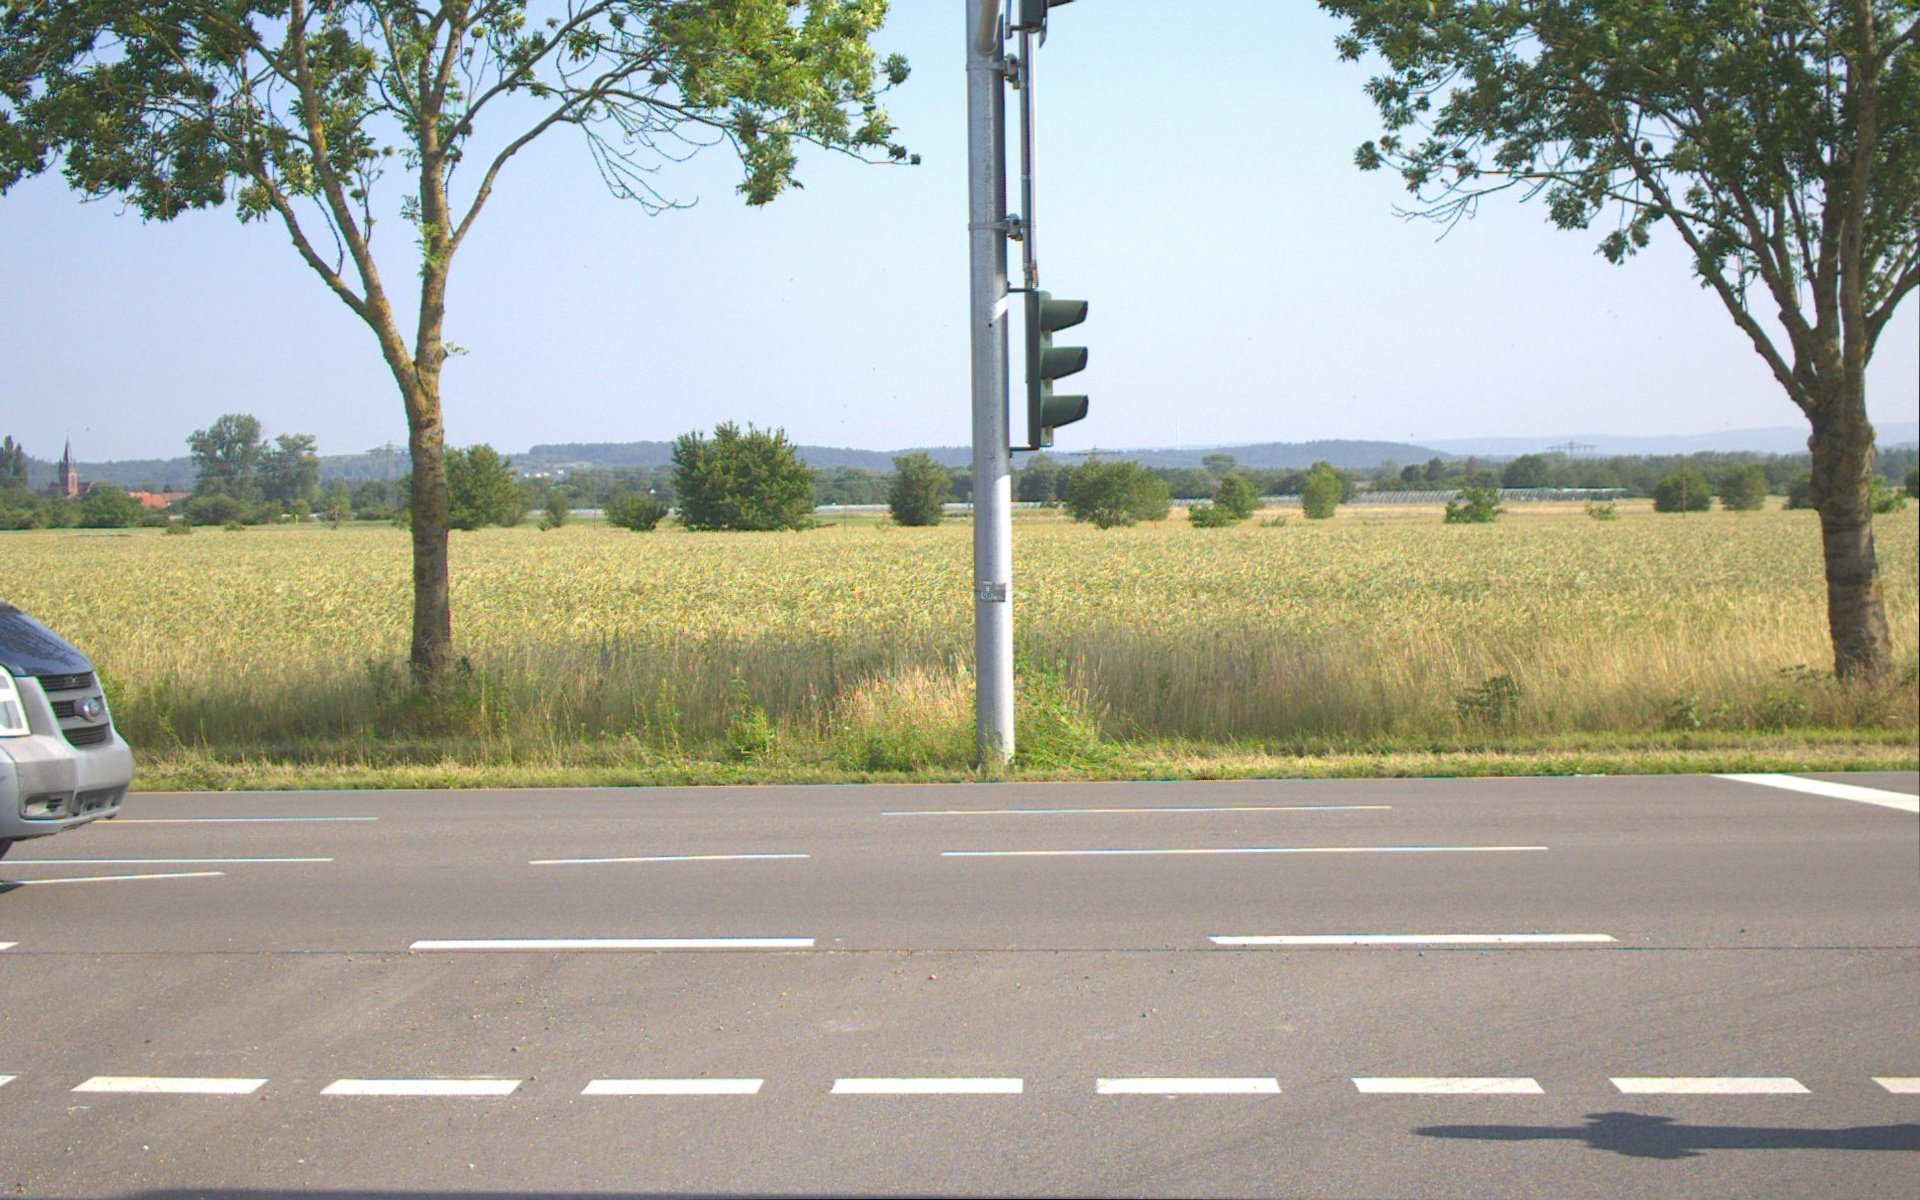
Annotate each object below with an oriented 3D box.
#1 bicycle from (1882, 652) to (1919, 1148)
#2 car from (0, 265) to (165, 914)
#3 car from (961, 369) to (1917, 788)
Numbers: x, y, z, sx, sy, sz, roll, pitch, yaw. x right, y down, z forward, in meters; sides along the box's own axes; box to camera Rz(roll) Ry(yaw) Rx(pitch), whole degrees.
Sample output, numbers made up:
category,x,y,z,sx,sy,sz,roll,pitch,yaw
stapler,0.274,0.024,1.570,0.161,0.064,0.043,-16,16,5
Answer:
category,x,y,z,sx,sy,sz,roll,pitch,yaw
bicycle,3.379,0.719,8.109,2.156,1.182,0.890,0,0,-2
car,-6.568,-0.009,14.915,5.731,2.613,2.033,-1,0,1
car,3.088,-0.124,23.009,5.889,2.568,2.393,1,0,-7
